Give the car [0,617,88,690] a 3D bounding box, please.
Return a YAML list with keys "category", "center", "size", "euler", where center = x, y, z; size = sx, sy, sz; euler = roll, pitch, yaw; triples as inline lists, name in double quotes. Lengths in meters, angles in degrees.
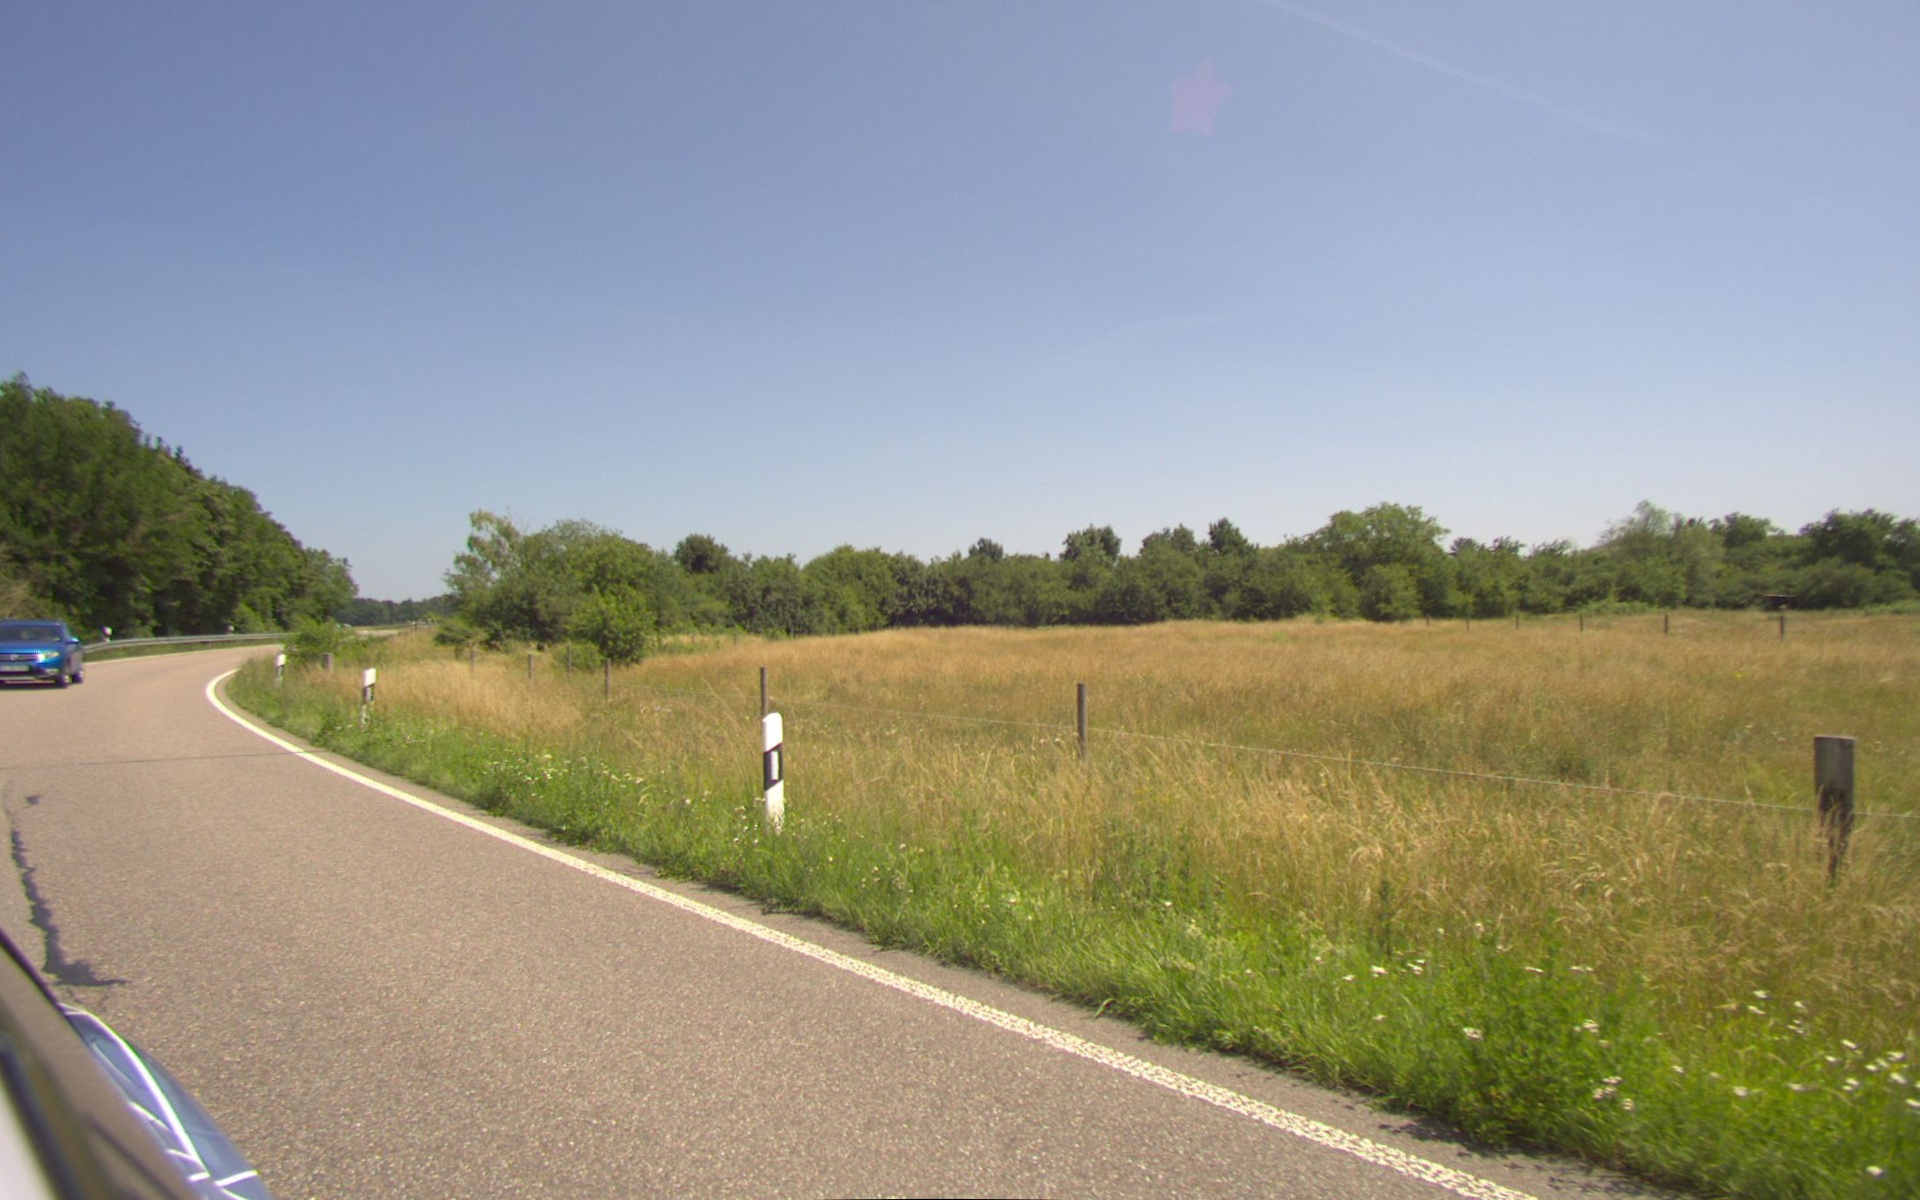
- category: "car"
  center: [-21.945, 1.209, 23.818]
  size: [1.706, 1.593, 4.010]
  euler: [2, -2, -35]
